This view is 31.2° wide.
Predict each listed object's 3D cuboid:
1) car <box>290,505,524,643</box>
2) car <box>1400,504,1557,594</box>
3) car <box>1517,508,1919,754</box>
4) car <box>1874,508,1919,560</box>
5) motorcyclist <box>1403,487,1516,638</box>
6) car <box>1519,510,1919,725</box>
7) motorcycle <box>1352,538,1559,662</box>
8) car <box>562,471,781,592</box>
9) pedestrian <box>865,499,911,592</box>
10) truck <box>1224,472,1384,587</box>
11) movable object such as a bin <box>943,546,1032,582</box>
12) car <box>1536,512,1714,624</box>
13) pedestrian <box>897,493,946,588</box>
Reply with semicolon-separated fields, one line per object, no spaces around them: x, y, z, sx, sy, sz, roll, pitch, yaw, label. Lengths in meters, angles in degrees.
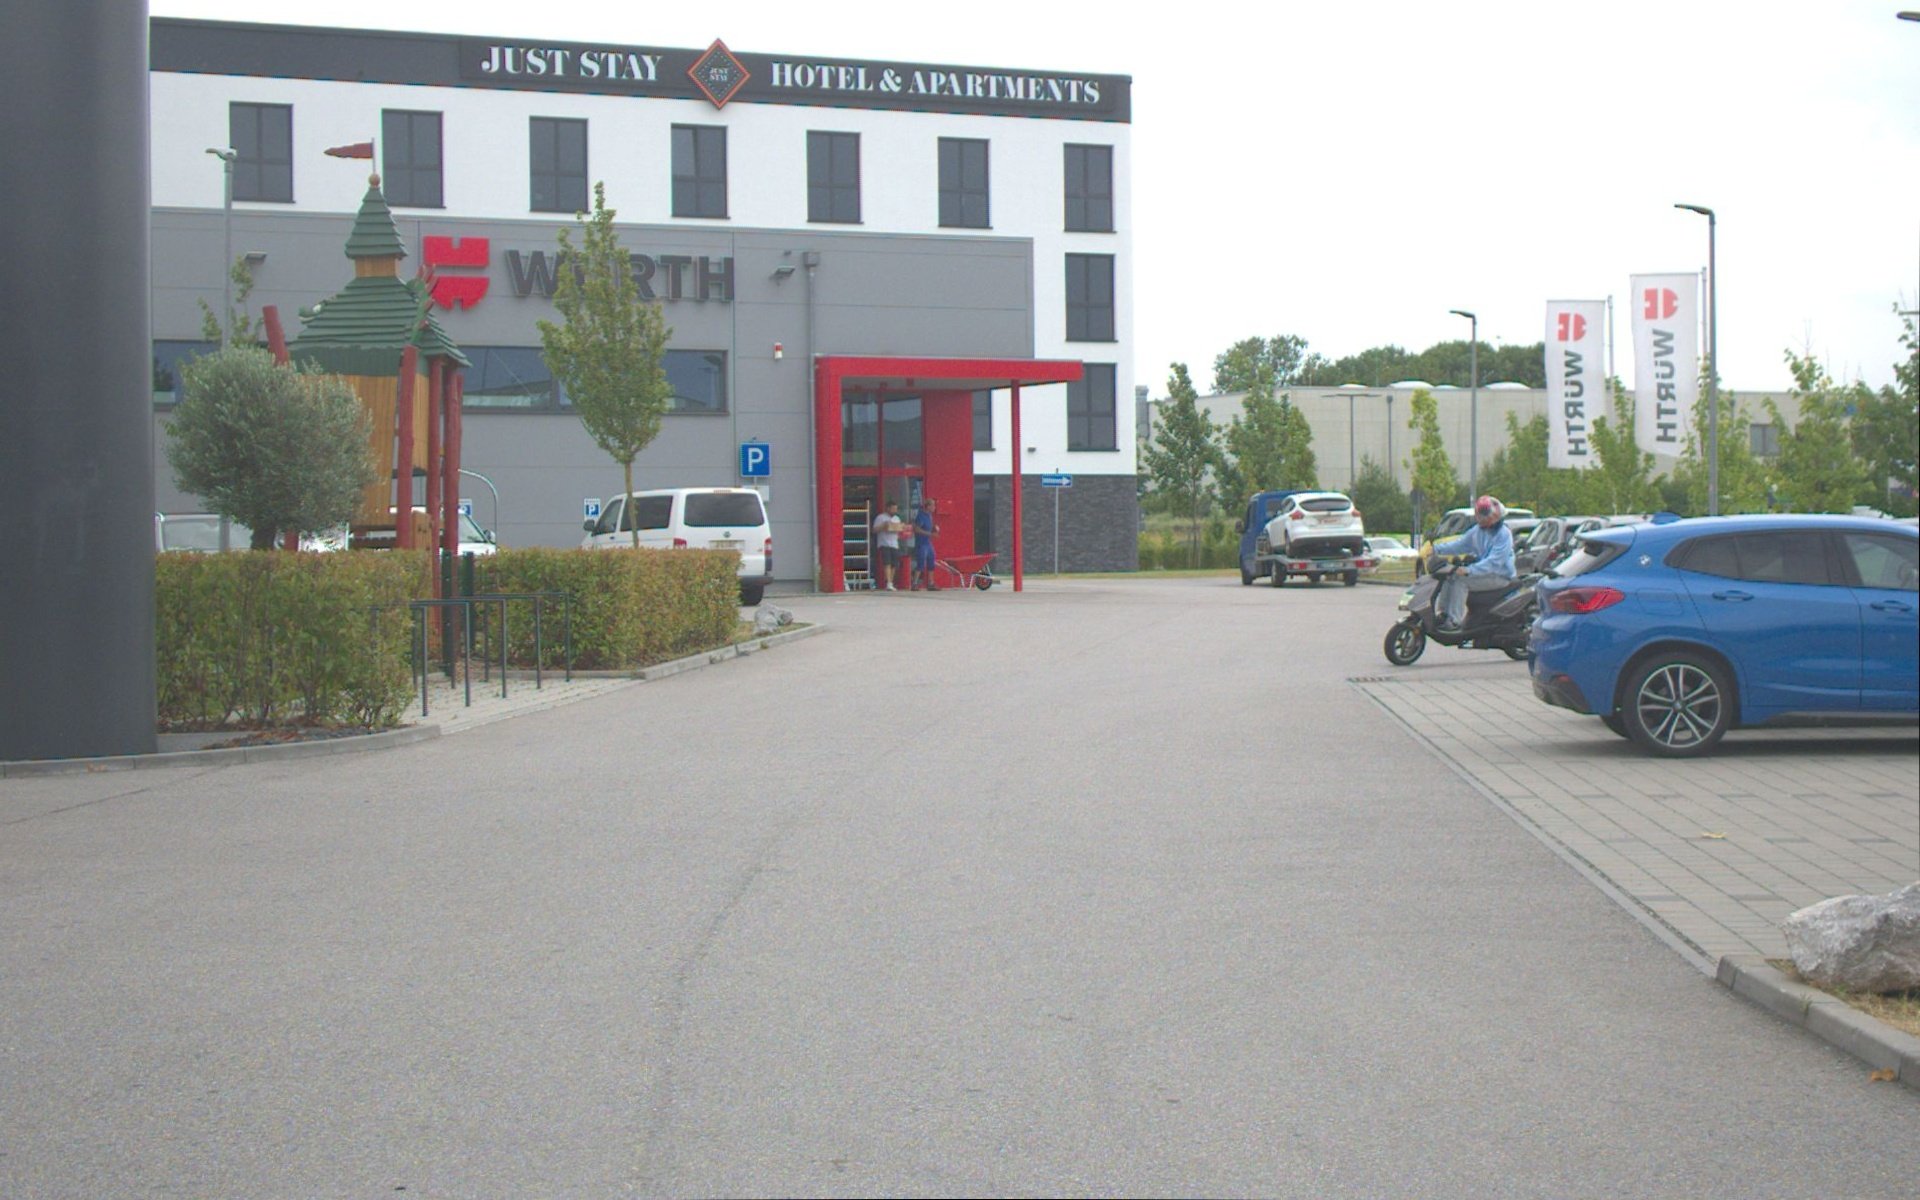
-7.286;-0.350;44.902;1.993;1.645;4.579;-2;1;-22;car
9.844;-0.967;65.584;1.856;1.644;4.001;1;1;-8;car
5.843;0.170;22.457;4.202;1.539;1.864;0;1;4;car
29.808;-2.030;105.186;1.796;1.546;4.856;-2;1;-8;car
5.014;-0.382;34.562;0.938;1.483;0.831;-1;1;-5;motorcyclist
6.214;0.099;25.169;4.062;1.454;1.776;-1;2;6;car
4.976;-0.008;34.585;1.915;1.204;0.795;-1;1;-5;motorcycle
-4.943;-1.142;58.438;2.055;1.849;4.062;-5;3;-30;car
-1.370;-1.041;65.605;0.623;1.745;0.906;-1;1;-18;pedestrian
8.132;-1.622;82.158;2.331;2.398;7.897;1;-1;-5;truck
0.530;-0.701;66.904;1.488;0.701;0.965;0;1;-20;movable object such as a bin
9.113;-0.469;47.431;1.751;1.464;4.476;0;1;2;car
-0.745;-1.154;66.380;0.676;1.796;0.880;1;1;-19;pedestrian
